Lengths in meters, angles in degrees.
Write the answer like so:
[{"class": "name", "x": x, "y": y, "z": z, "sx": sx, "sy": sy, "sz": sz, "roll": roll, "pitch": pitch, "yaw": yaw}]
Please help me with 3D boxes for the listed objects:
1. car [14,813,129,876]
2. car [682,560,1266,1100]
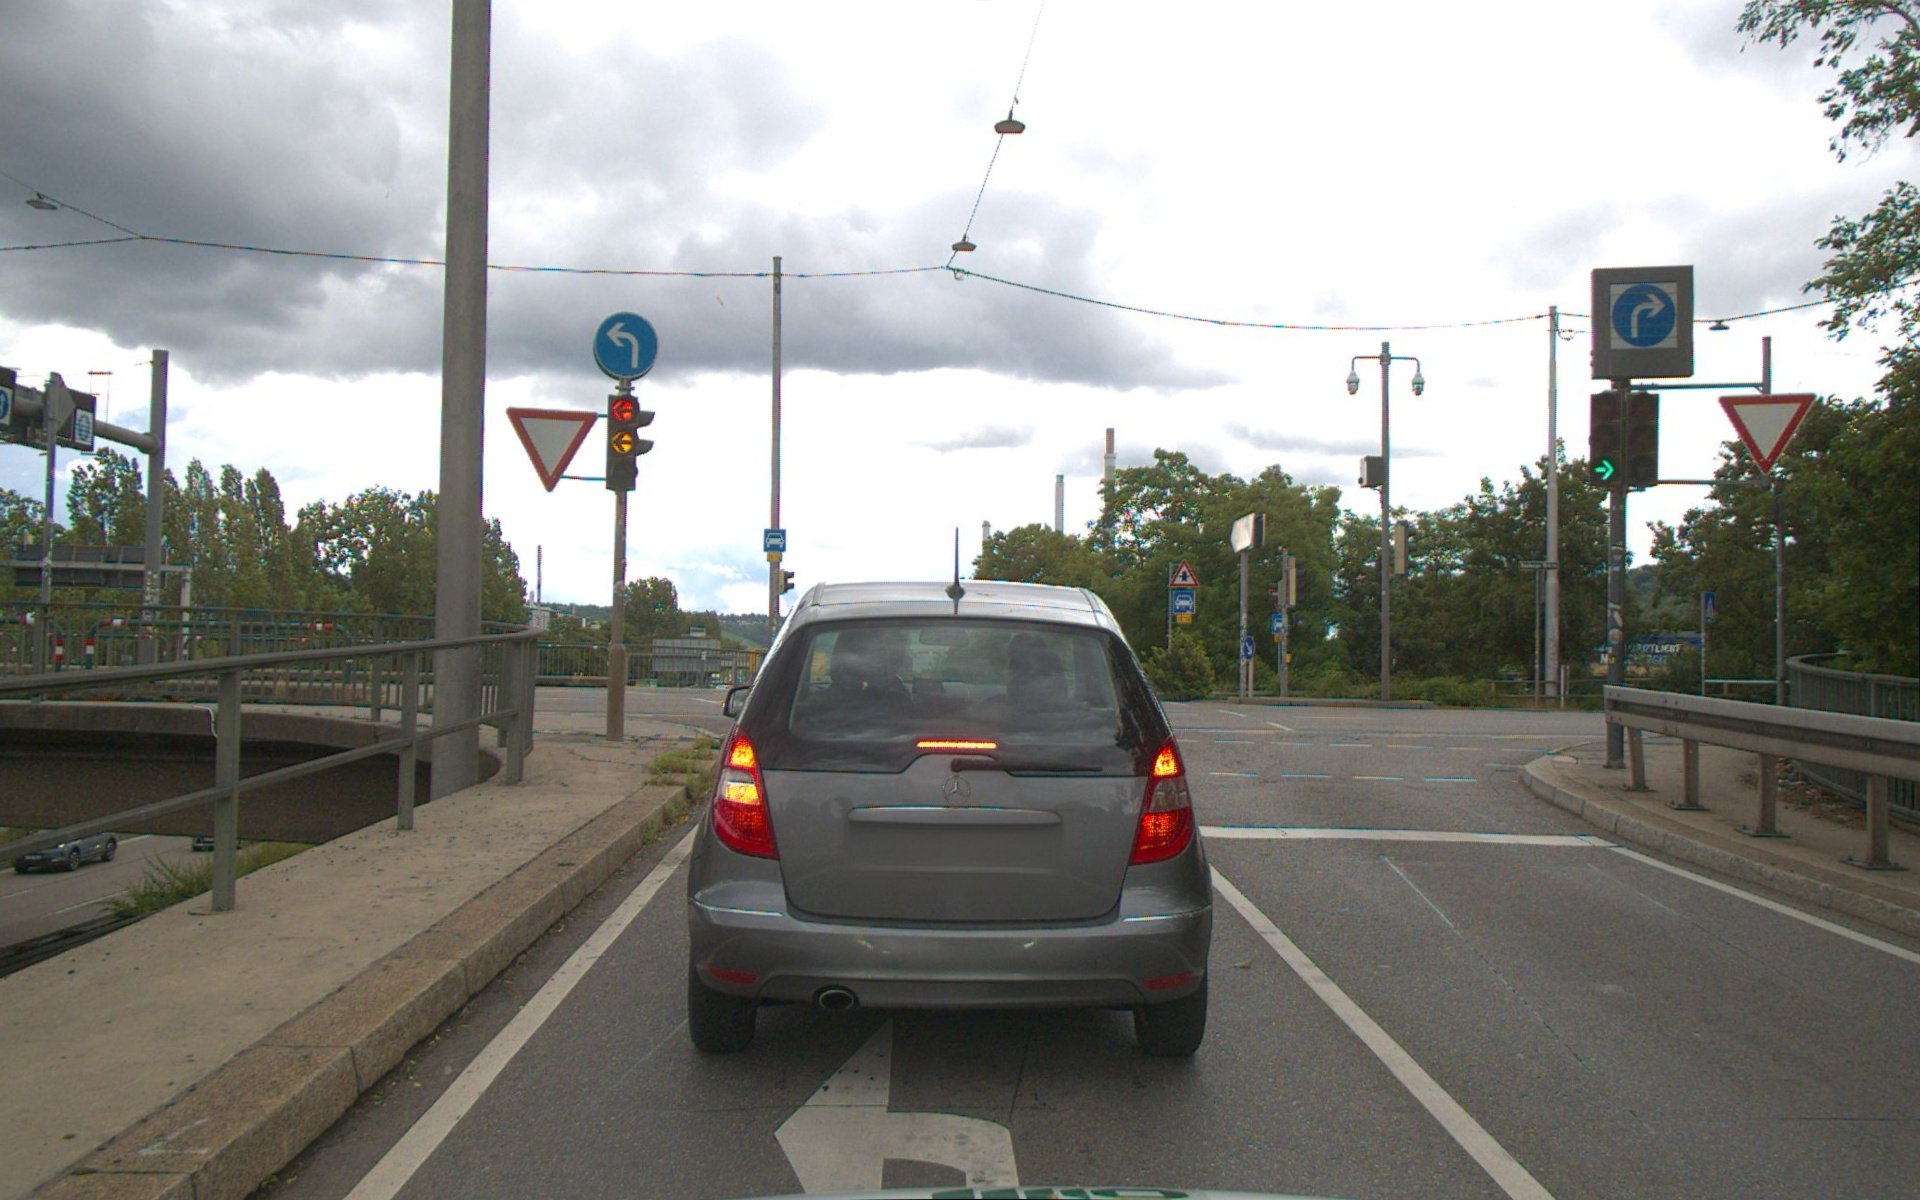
[{"class": "car", "x": -30.447, "y": 8.351, "z": 56.842, "sx": 1.676, "sy": 1.700, "sz": 4.253, "roll": -1, "pitch": -3, "yaw": -1}, {"class": "car", "x": 0.025, "y": 0.687, "z": 6.661, "sx": 1.704, "sy": 1.570, "sz": 3.540, "roll": 1, "pitch": 0, "yaw": -1}]
